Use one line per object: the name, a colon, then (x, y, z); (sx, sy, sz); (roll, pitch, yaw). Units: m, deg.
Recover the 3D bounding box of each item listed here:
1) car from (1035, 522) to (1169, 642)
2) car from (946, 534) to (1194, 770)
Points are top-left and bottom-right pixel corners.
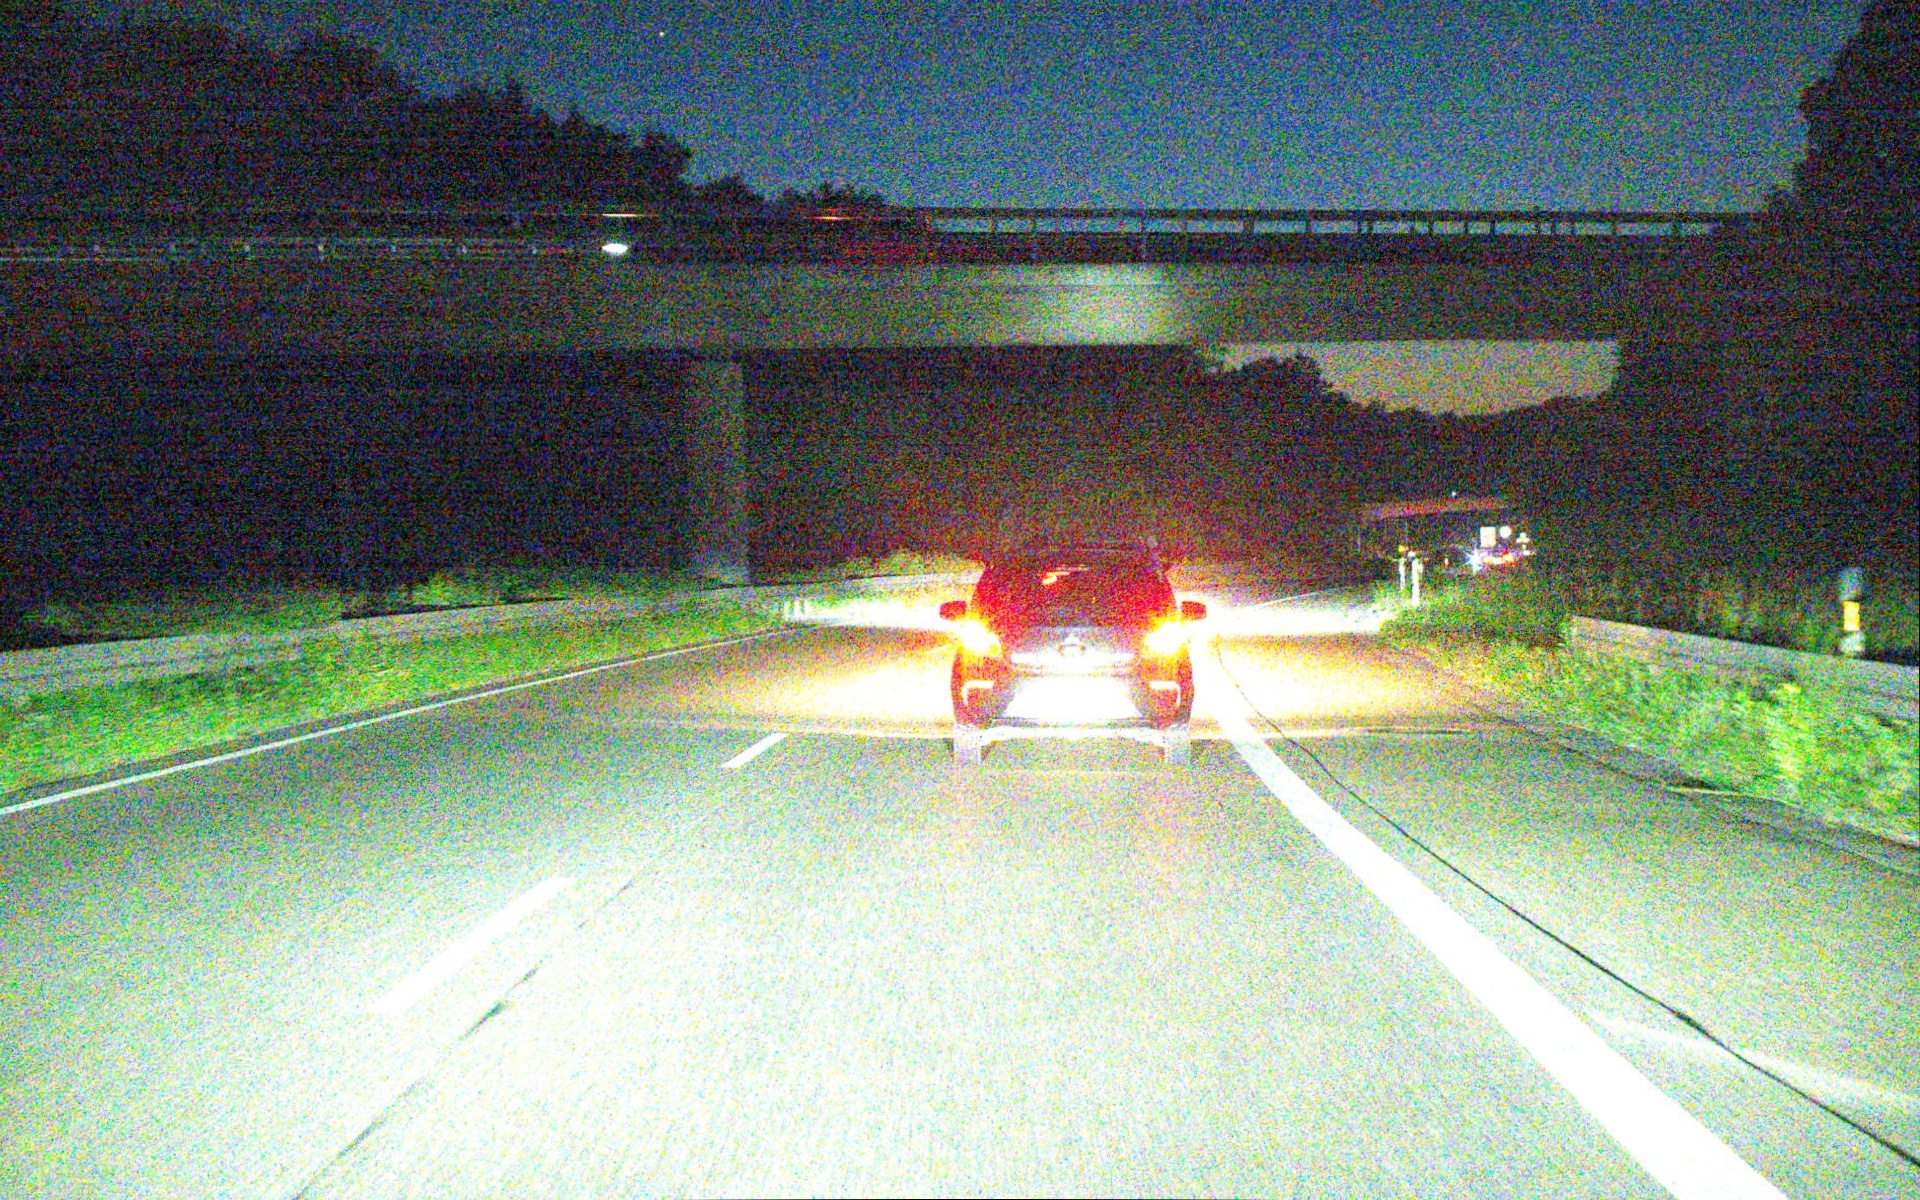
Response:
car: (2.108, -0.304, 51.474); (1.906, 1.692, 4.000); (-1, 1, 2)
car: (0.745, 0.297, 24.297); (1.588, 1.503, 4.000); (1, 1, 1)
